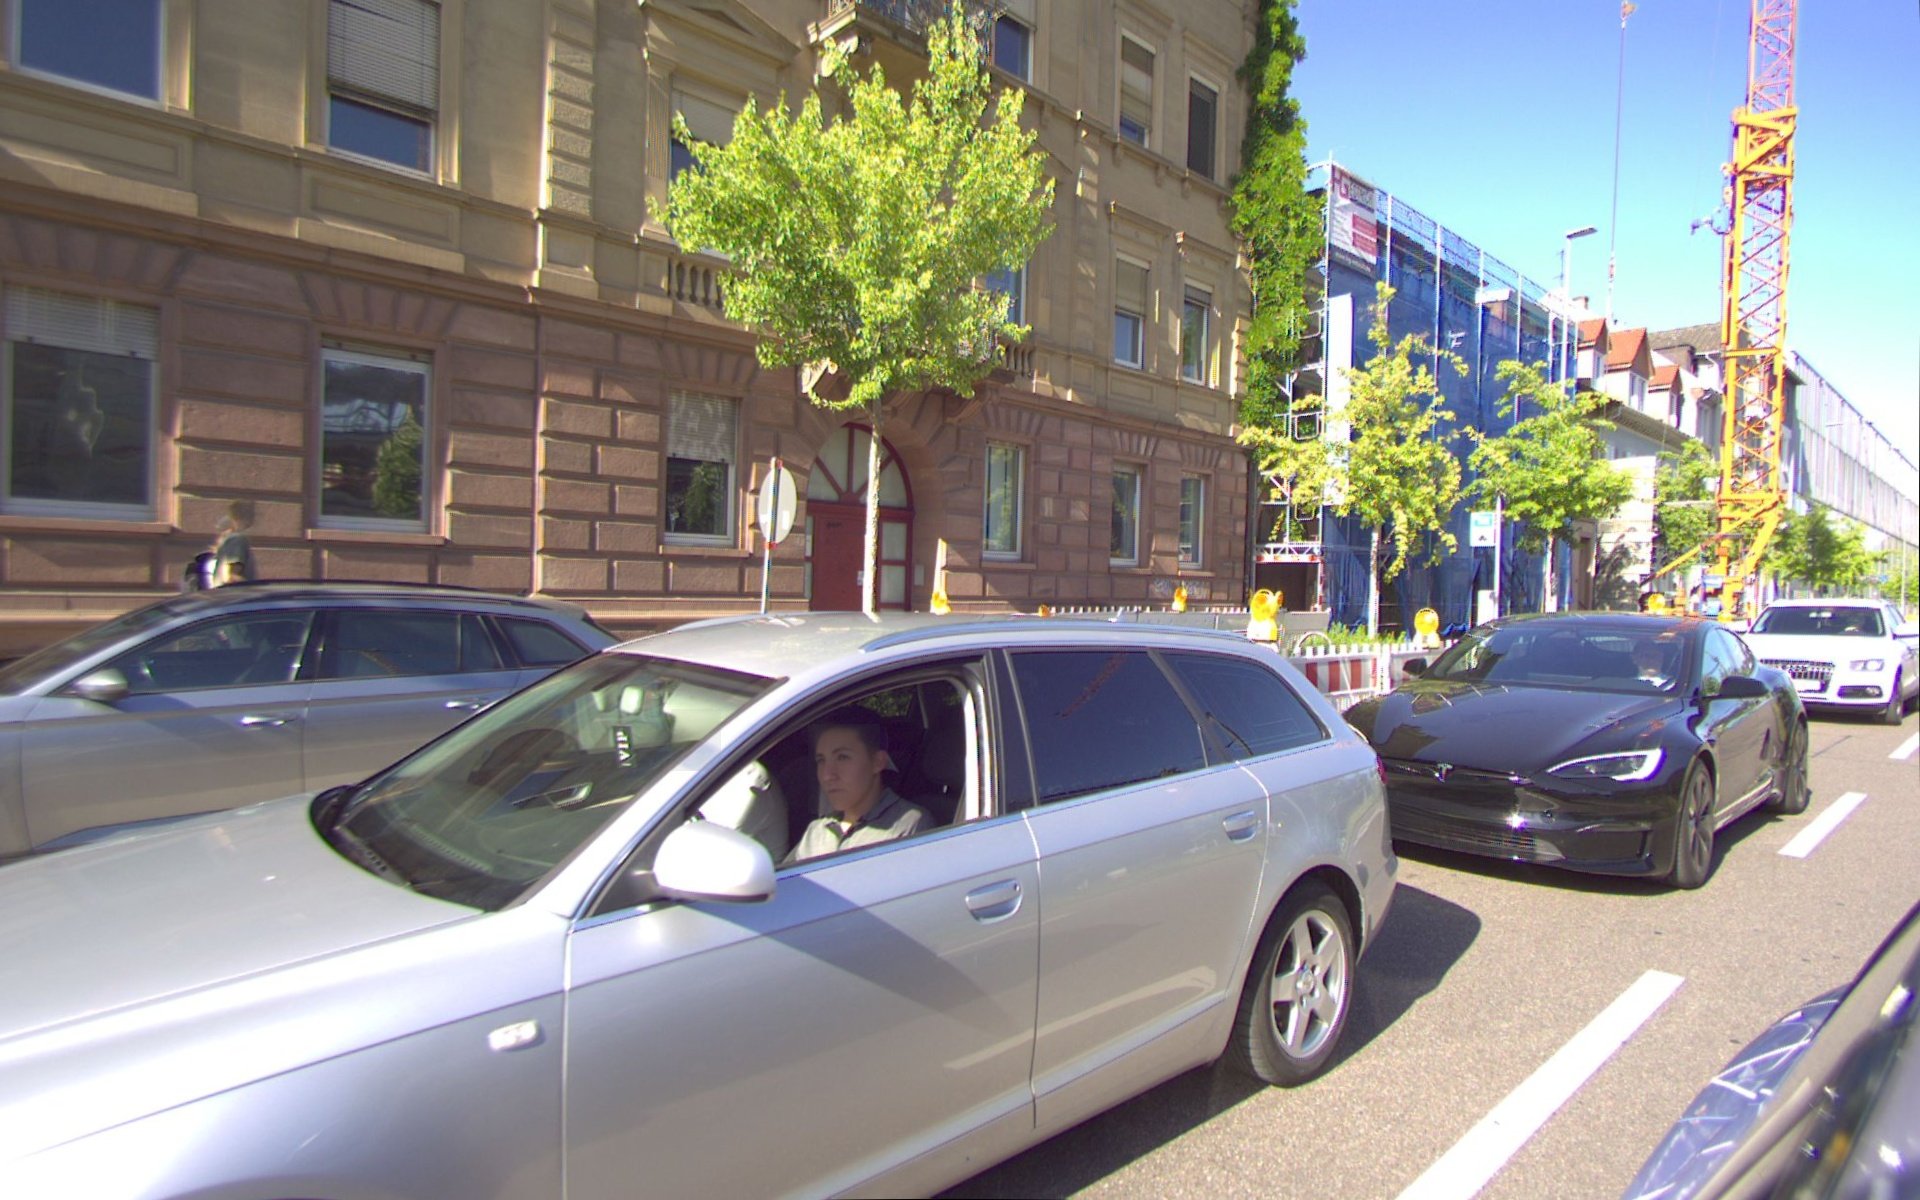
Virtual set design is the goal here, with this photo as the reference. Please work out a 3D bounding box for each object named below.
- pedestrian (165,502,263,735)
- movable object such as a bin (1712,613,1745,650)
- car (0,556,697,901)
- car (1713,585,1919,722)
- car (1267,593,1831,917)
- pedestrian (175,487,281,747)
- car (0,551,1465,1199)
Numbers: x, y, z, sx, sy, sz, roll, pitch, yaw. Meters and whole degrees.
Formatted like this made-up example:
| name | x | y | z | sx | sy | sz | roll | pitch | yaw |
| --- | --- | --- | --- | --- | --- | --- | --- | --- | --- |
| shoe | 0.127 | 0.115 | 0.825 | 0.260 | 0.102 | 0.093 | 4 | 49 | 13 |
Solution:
| name | x | y | z | sx | sy | sz | roll | pitch | yaw |
| --- | --- | --- | --- | --- | --- | --- | --- | --- | --- |
| pedestrian | -6.189 | 0.132 | 8.391 | 0.577 | 1.842 | 0.564 | 1 | 4 | -42 |
| movable object such as a bin | 23.436 | 0.951 | 30.864 | 0.717 | 1.070 | 0.597 | 1 | 4 | -41 |
| car | -4.070 | 0.566 | 5.935 | 4.619 | 1.493 | 1.651 | 0 | 4 | -42 |
| car | 12.307 | 0.647 | 14.262 | 3.929 | 1.654 | 1.933 | 1 | 0 | -41 |
| car | 4.189 | 0.711 | 6.853 | 4.446 | 1.462 | 2.054 | 1 | 0 | -42 |
| pedestrian | -5.738 | 0.105 | 7.929 | 0.577 | 1.936 | 0.660 | 1 | 4 | -42 |
| car | -0.559 | 0.660 | 2.819 | 4.751 | 1.445 | 1.751 | 1 | 0 | -40 |
